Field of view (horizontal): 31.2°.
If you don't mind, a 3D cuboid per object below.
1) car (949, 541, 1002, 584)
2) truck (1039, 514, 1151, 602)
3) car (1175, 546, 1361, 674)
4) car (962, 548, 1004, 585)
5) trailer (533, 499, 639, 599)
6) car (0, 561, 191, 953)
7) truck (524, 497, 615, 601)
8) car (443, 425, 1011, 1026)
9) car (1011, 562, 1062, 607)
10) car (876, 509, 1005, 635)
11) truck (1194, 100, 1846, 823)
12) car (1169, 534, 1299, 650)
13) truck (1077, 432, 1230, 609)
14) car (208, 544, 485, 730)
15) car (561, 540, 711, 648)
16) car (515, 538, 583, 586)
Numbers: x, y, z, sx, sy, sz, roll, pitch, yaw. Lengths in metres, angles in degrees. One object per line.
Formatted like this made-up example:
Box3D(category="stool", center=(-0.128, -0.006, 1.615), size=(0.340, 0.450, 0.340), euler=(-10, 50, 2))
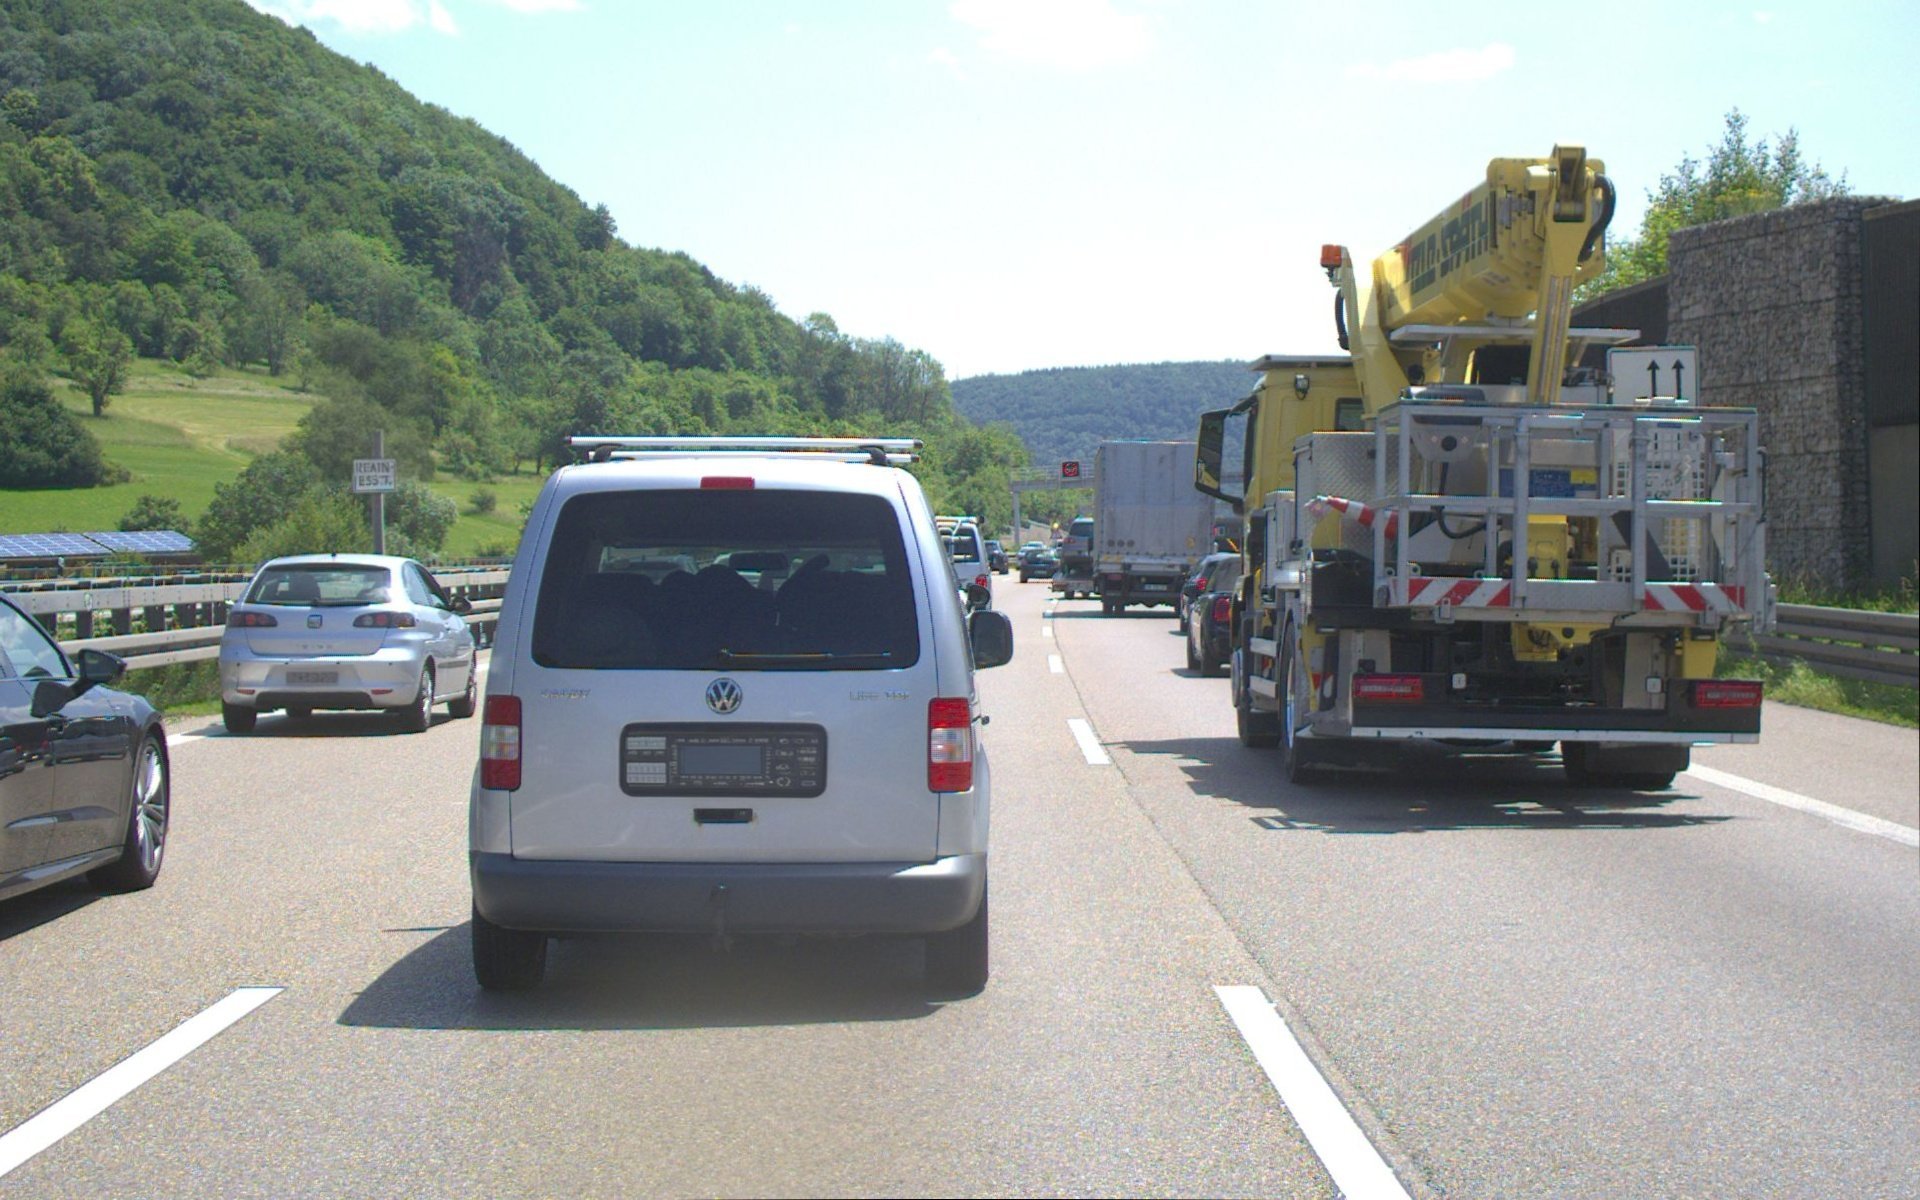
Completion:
Box3D(category="car", center=(0.664, -1.631, 149.889), size=(2.114, 1.821, 4.000), euler=(1, 0, -2))
Box3D(category="truck", center=(4.065, -1.262, 102.444), size=(2.391, 2.532, 5.936), euler=(0, 1, 12))
Box3D(category="car", center=(3.639, 0.084, 41.226), size=(1.786, 1.453, 3.771), euler=(0, 1, -2))
Box3D(category="car", center=(1.119, -1.657, 170.124), size=(1.993, 1.799, 4.000), euler=(1, 0, -1))
Box3D(category="trailer", center=(-16.250, -2.180, 150.354), size=(2.855, 4.177, 13.615), euler=(1, 0, 1))
Box3D(category="car", center=(-4.352, 0.558, 13.136), size=(1.800, 1.385, 4.970), euler=(0, 1, -1))
Box3D(category="truck", center=(-16.364, -2.116, 144.394), size=(2.798, 4.217, 7.231), euler=(1, 0, 1))
Box3D(category="car", center=(-0.782, 0.357, 12.674), size=(1.756, 1.861, 4.000), euler=(0, 1, -2))
Box3D(category="car", center=(3.057, -0.634, 138.290), size=(1.993, 1.743, 4.000), euler=(1, 0, 1))
Box3D(category="car", center=(-0.355, -0.471, 55.872), size=(1.993, 1.969, 4.000), euler=(0, 1, -2))
Box3D(category="truck", center=(3.345, -0.824, 23.073), size=(2.703, 3.929, 8.722), euler=(0, 1, -2))
Box3D(category="car", center=(4.870, -0.175, 61.614), size=(1.993, 2.007, 4.000), euler=(0, 1, 0))
Box3D(category="truck", center=(4.377, -1.770, 79.306), size=(2.940, 3.810, 8.237), euler=(1, 0, 0))
Box3D(category="car", center=(-5.022, 0.258, 28.575), size=(1.695, 1.440, 3.862), euler=(0, 1, -1))
Box3D(category="car", center=(-4.682, -0.114, 50.154), size=(1.924, 1.494, 4.000), euler=(1, 1, -2))
Box3D(category="car", center=(-13.915, -1.299, 116.559), size=(1.849, 1.604, 4.079), euler=(0, 1, -1))
